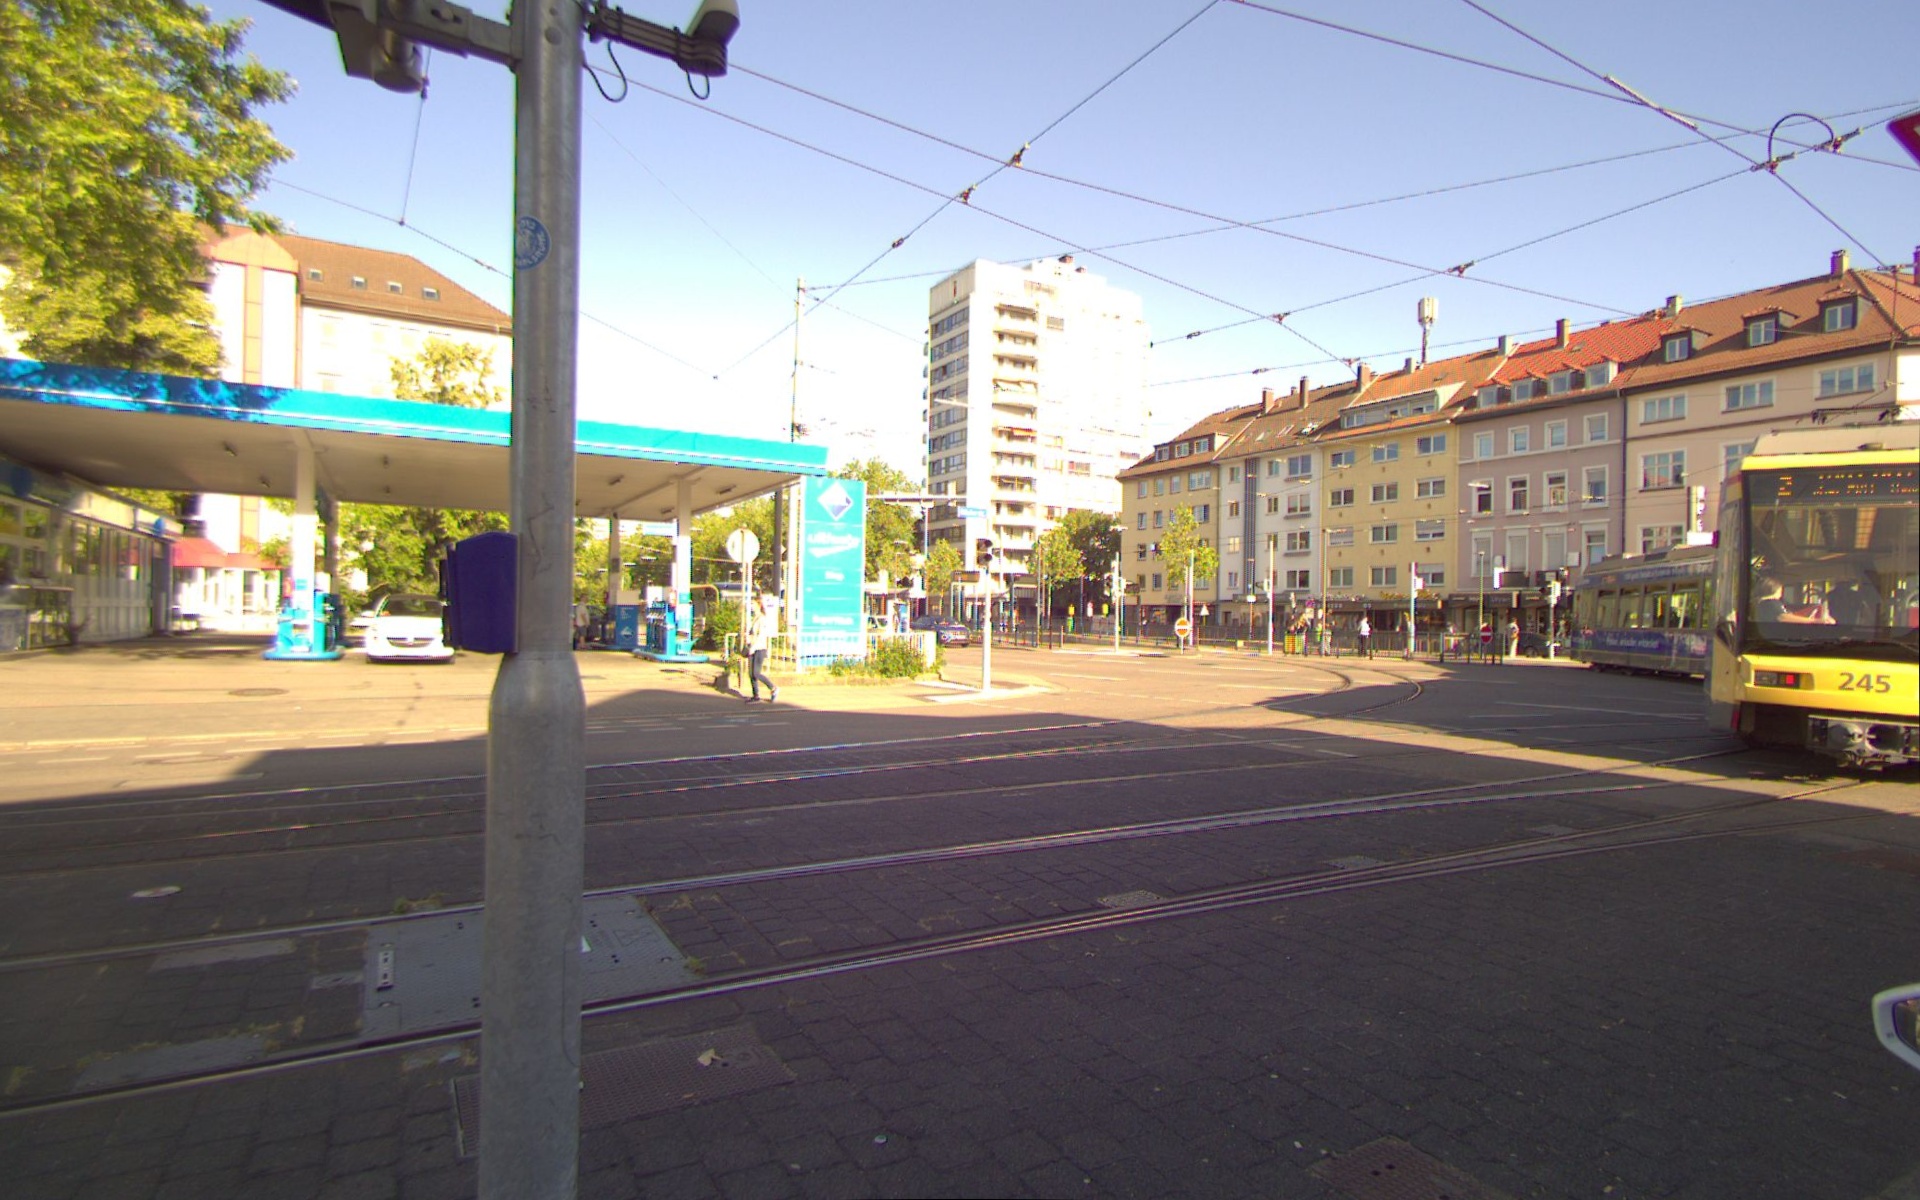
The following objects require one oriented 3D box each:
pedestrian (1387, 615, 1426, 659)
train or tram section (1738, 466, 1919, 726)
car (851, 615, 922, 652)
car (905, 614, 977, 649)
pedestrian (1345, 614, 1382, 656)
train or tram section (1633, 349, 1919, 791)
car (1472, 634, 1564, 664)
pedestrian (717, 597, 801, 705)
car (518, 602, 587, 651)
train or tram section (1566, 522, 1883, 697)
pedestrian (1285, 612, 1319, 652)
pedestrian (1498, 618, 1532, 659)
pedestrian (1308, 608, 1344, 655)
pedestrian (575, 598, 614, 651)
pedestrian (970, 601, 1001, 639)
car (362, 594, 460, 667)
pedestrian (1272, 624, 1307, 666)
[{"bbox_3d":[16.607,1.373,37.360,0.924,1.619,1.008,1,-1,-8],"label":"pedestrian"},{"bbox_3d":[15.294,0.026,17.347,2.779,3.546,8.430,0,-1,37],"label":"train or tram section"},{"bbox_3d":[-3.477,1.533,46.738,1.863,1.601,3.971,1,-1,-28],"label":"car"},{"bbox_3d":[-0.970,1.495,48.254,1.863,1.601,3.971,1,-1,-28],"label":"car"},{"bbox_3d":[15.746,1.357,39.252,0.925,1.619,1.007,1,-1,-13],"label":"pedestrian"},{"bbox_3d":[10.110,-0.166,11.254,7.910,3.546,2.786,1,-1,-45],"label":"train or tram section"},{"bbox_3d":[30.428,2.640,54.908,1.977,1.472,3.966,1,-1,-31],"label":"car"},{"bbox_3d":[-3.171,0.782,15.849,1.095,1.641,0.709,1,0,-35],"label":"pedestrian"},{"bbox_3d":[-13.451,0.843,33.017,1.725,1.431,4.061,5,-2,-26],"label":"car"},{"bbox_3d":[19.182,0.288,26.462,2.724,3.546,12.033,0,-1,18],"label":"train or tram section"},{"bbox_3d":[13.919,1.304,40.911,1.002,1.619,0.930,2,-1,-42],"label":"pedestrian"},{"bbox_3d":[24.319,1.679,44.012,0.924,1.779,0.934,1,-1,-30],"label":"pedestrian"},{"bbox_3d":[14.279,1.232,39.184,1.002,1.798,0.930,2,-1,-42],"label":"pedestrian"},{"bbox_3d":[-11.790,0.786,32.365,0.806,1.647,1.150,1,-1,-40],"label":"pedestrian"},{"bbox_3d":[1.263,1.016,50.291,1.156,1.870,1.098,2,-1,-28],"label":"pedestrian"},{"bbox_3d":[-12.335,0.656,22.550,1.760,1.483,3.968,1,-1,-30],"label":"car"},{"bbox_3d":[13.198,1.779,40.216,1.002,1.619,0.930,0,0,-42],"label":"pedestrian"}]
